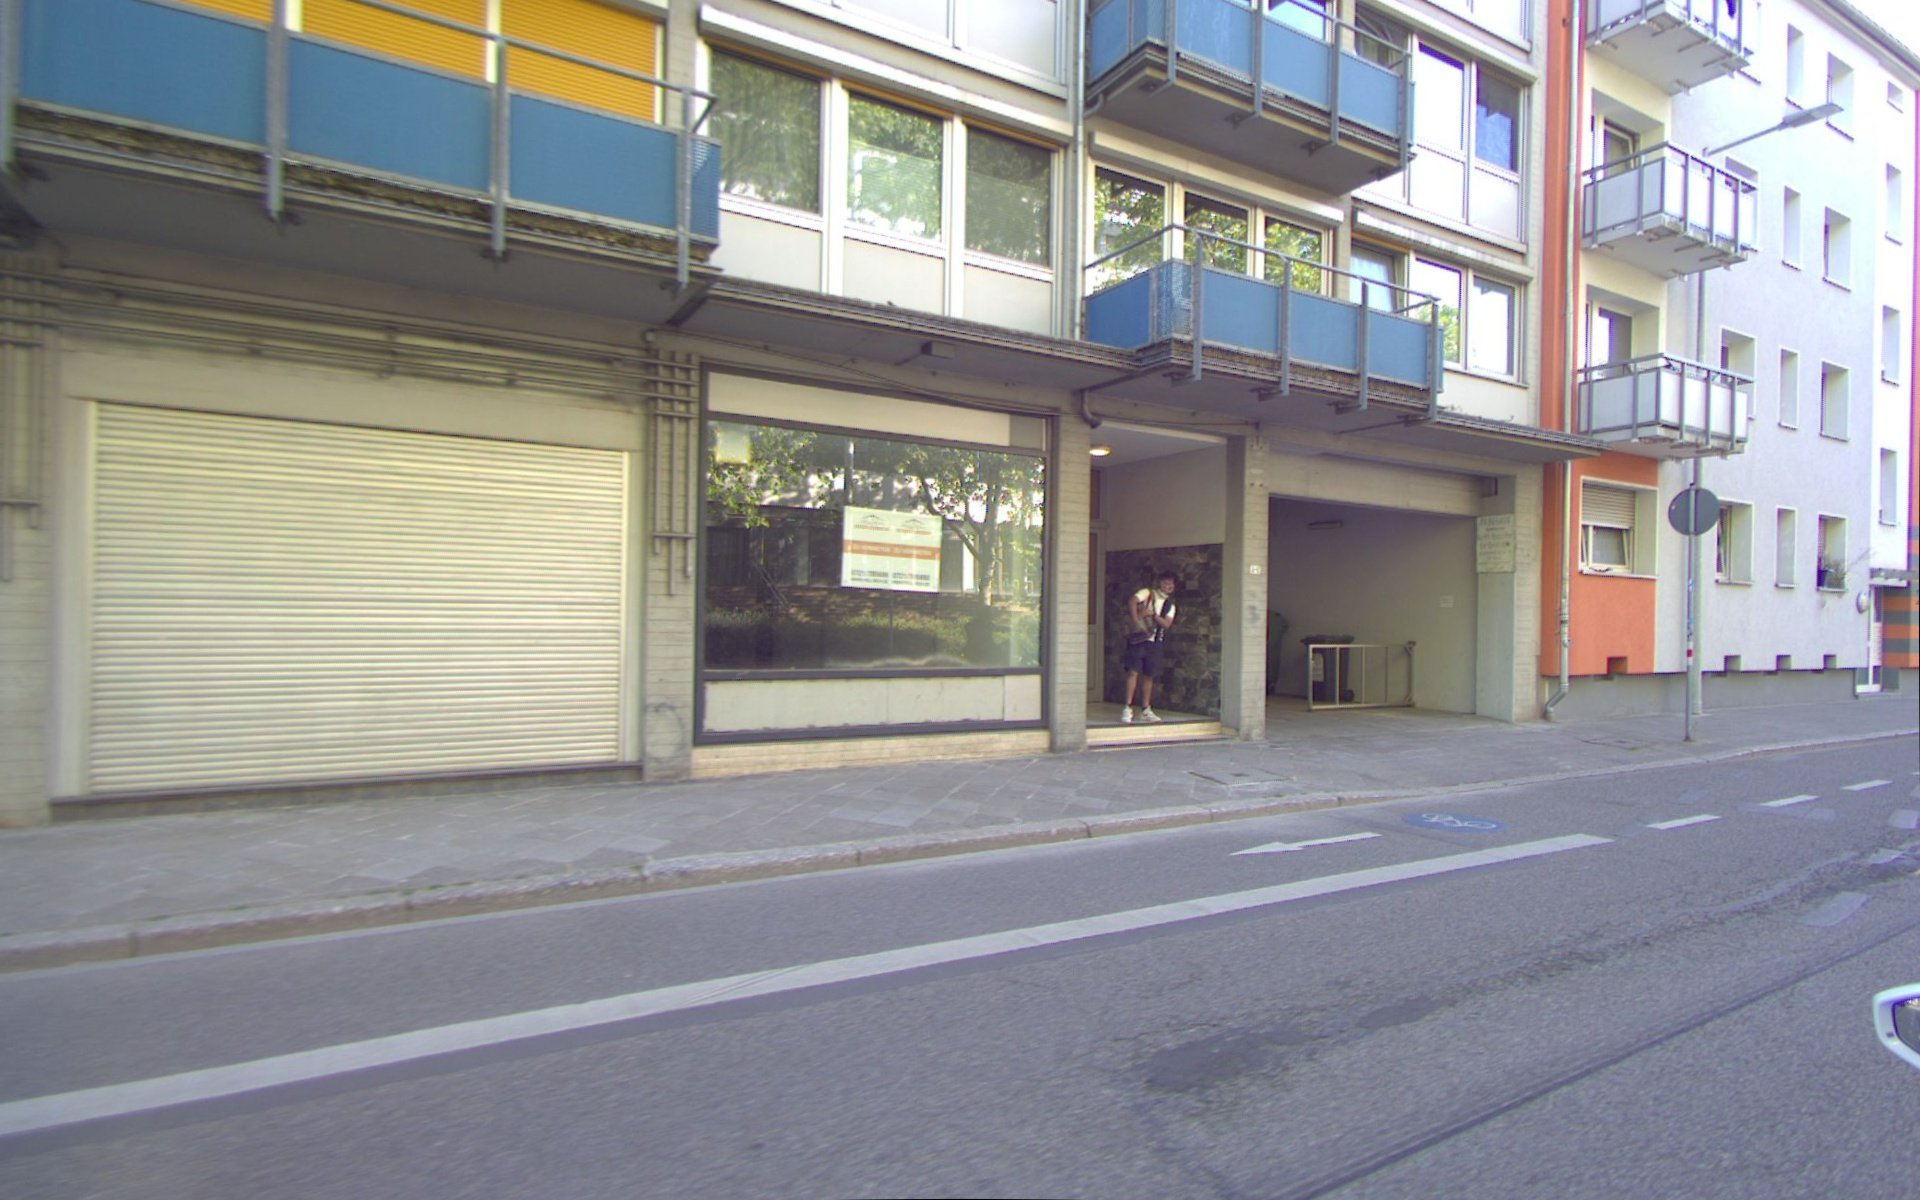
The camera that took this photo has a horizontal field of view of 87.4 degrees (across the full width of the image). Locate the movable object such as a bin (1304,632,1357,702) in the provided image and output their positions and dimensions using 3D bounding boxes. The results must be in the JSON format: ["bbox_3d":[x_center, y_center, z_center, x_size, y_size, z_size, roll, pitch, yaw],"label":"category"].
[{"bbox_3d":[5.977,1.069,16.200,0.646,1.102,0.487,1,0,-30],"label":"movable object such as a bin"}]

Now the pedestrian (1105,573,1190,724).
[{"bbox_3d":[2.063,0.522,11.034,0.747,1.600,0.511,1,0,-30],"label":"pedestrian"}]

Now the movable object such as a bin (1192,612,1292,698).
[{"bbox_3d":[4.933,0.933,17.600,1.067,1.433,1.312,1,0,-30],"label":"movable object such as a bin"}]
